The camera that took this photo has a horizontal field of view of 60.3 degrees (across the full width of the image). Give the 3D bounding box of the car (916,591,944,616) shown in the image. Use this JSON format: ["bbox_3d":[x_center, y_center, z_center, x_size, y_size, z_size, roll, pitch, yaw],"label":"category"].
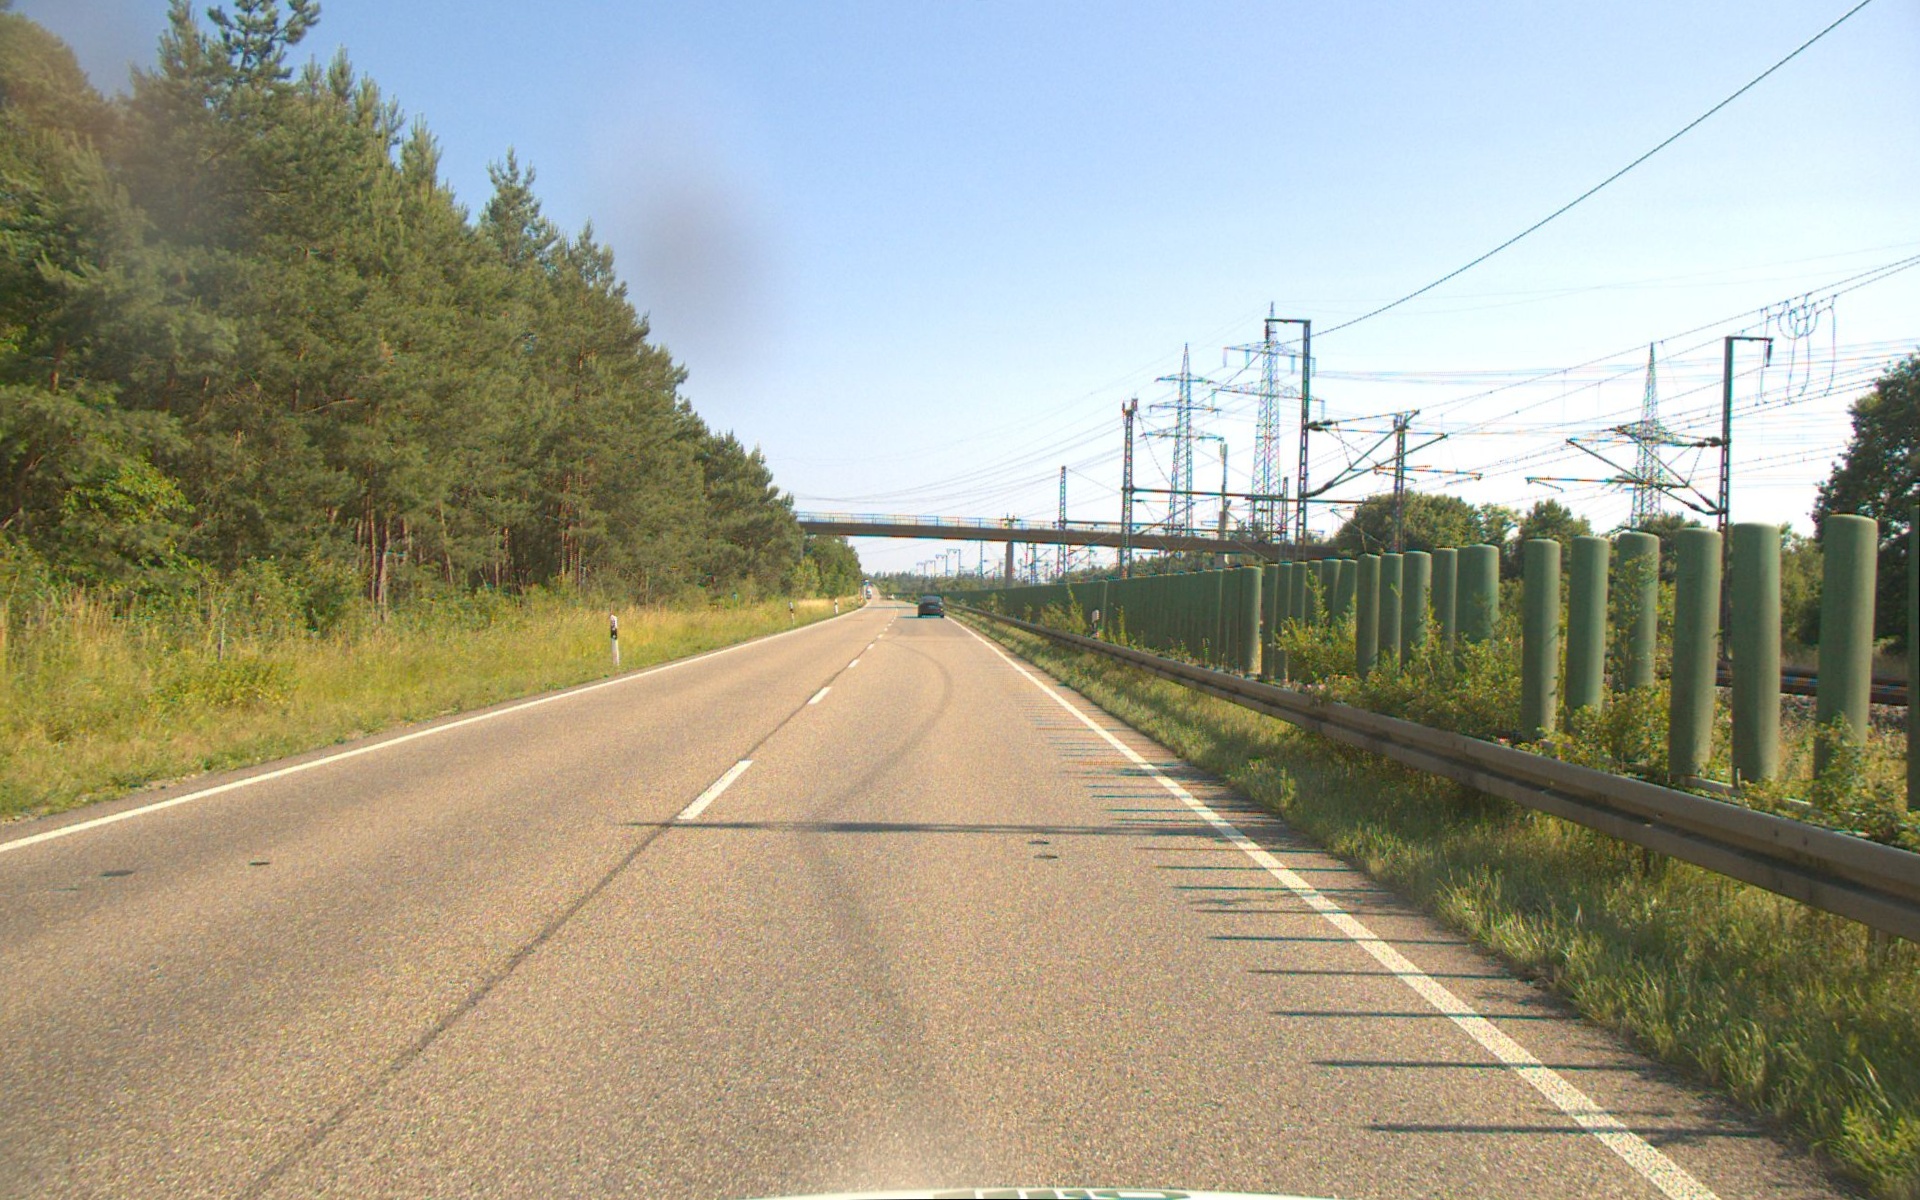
[{"bbox_3d":[-2.066,0.240,113.524,1.822,1.670,3.998,0,0,-3],"label":"car"}]
